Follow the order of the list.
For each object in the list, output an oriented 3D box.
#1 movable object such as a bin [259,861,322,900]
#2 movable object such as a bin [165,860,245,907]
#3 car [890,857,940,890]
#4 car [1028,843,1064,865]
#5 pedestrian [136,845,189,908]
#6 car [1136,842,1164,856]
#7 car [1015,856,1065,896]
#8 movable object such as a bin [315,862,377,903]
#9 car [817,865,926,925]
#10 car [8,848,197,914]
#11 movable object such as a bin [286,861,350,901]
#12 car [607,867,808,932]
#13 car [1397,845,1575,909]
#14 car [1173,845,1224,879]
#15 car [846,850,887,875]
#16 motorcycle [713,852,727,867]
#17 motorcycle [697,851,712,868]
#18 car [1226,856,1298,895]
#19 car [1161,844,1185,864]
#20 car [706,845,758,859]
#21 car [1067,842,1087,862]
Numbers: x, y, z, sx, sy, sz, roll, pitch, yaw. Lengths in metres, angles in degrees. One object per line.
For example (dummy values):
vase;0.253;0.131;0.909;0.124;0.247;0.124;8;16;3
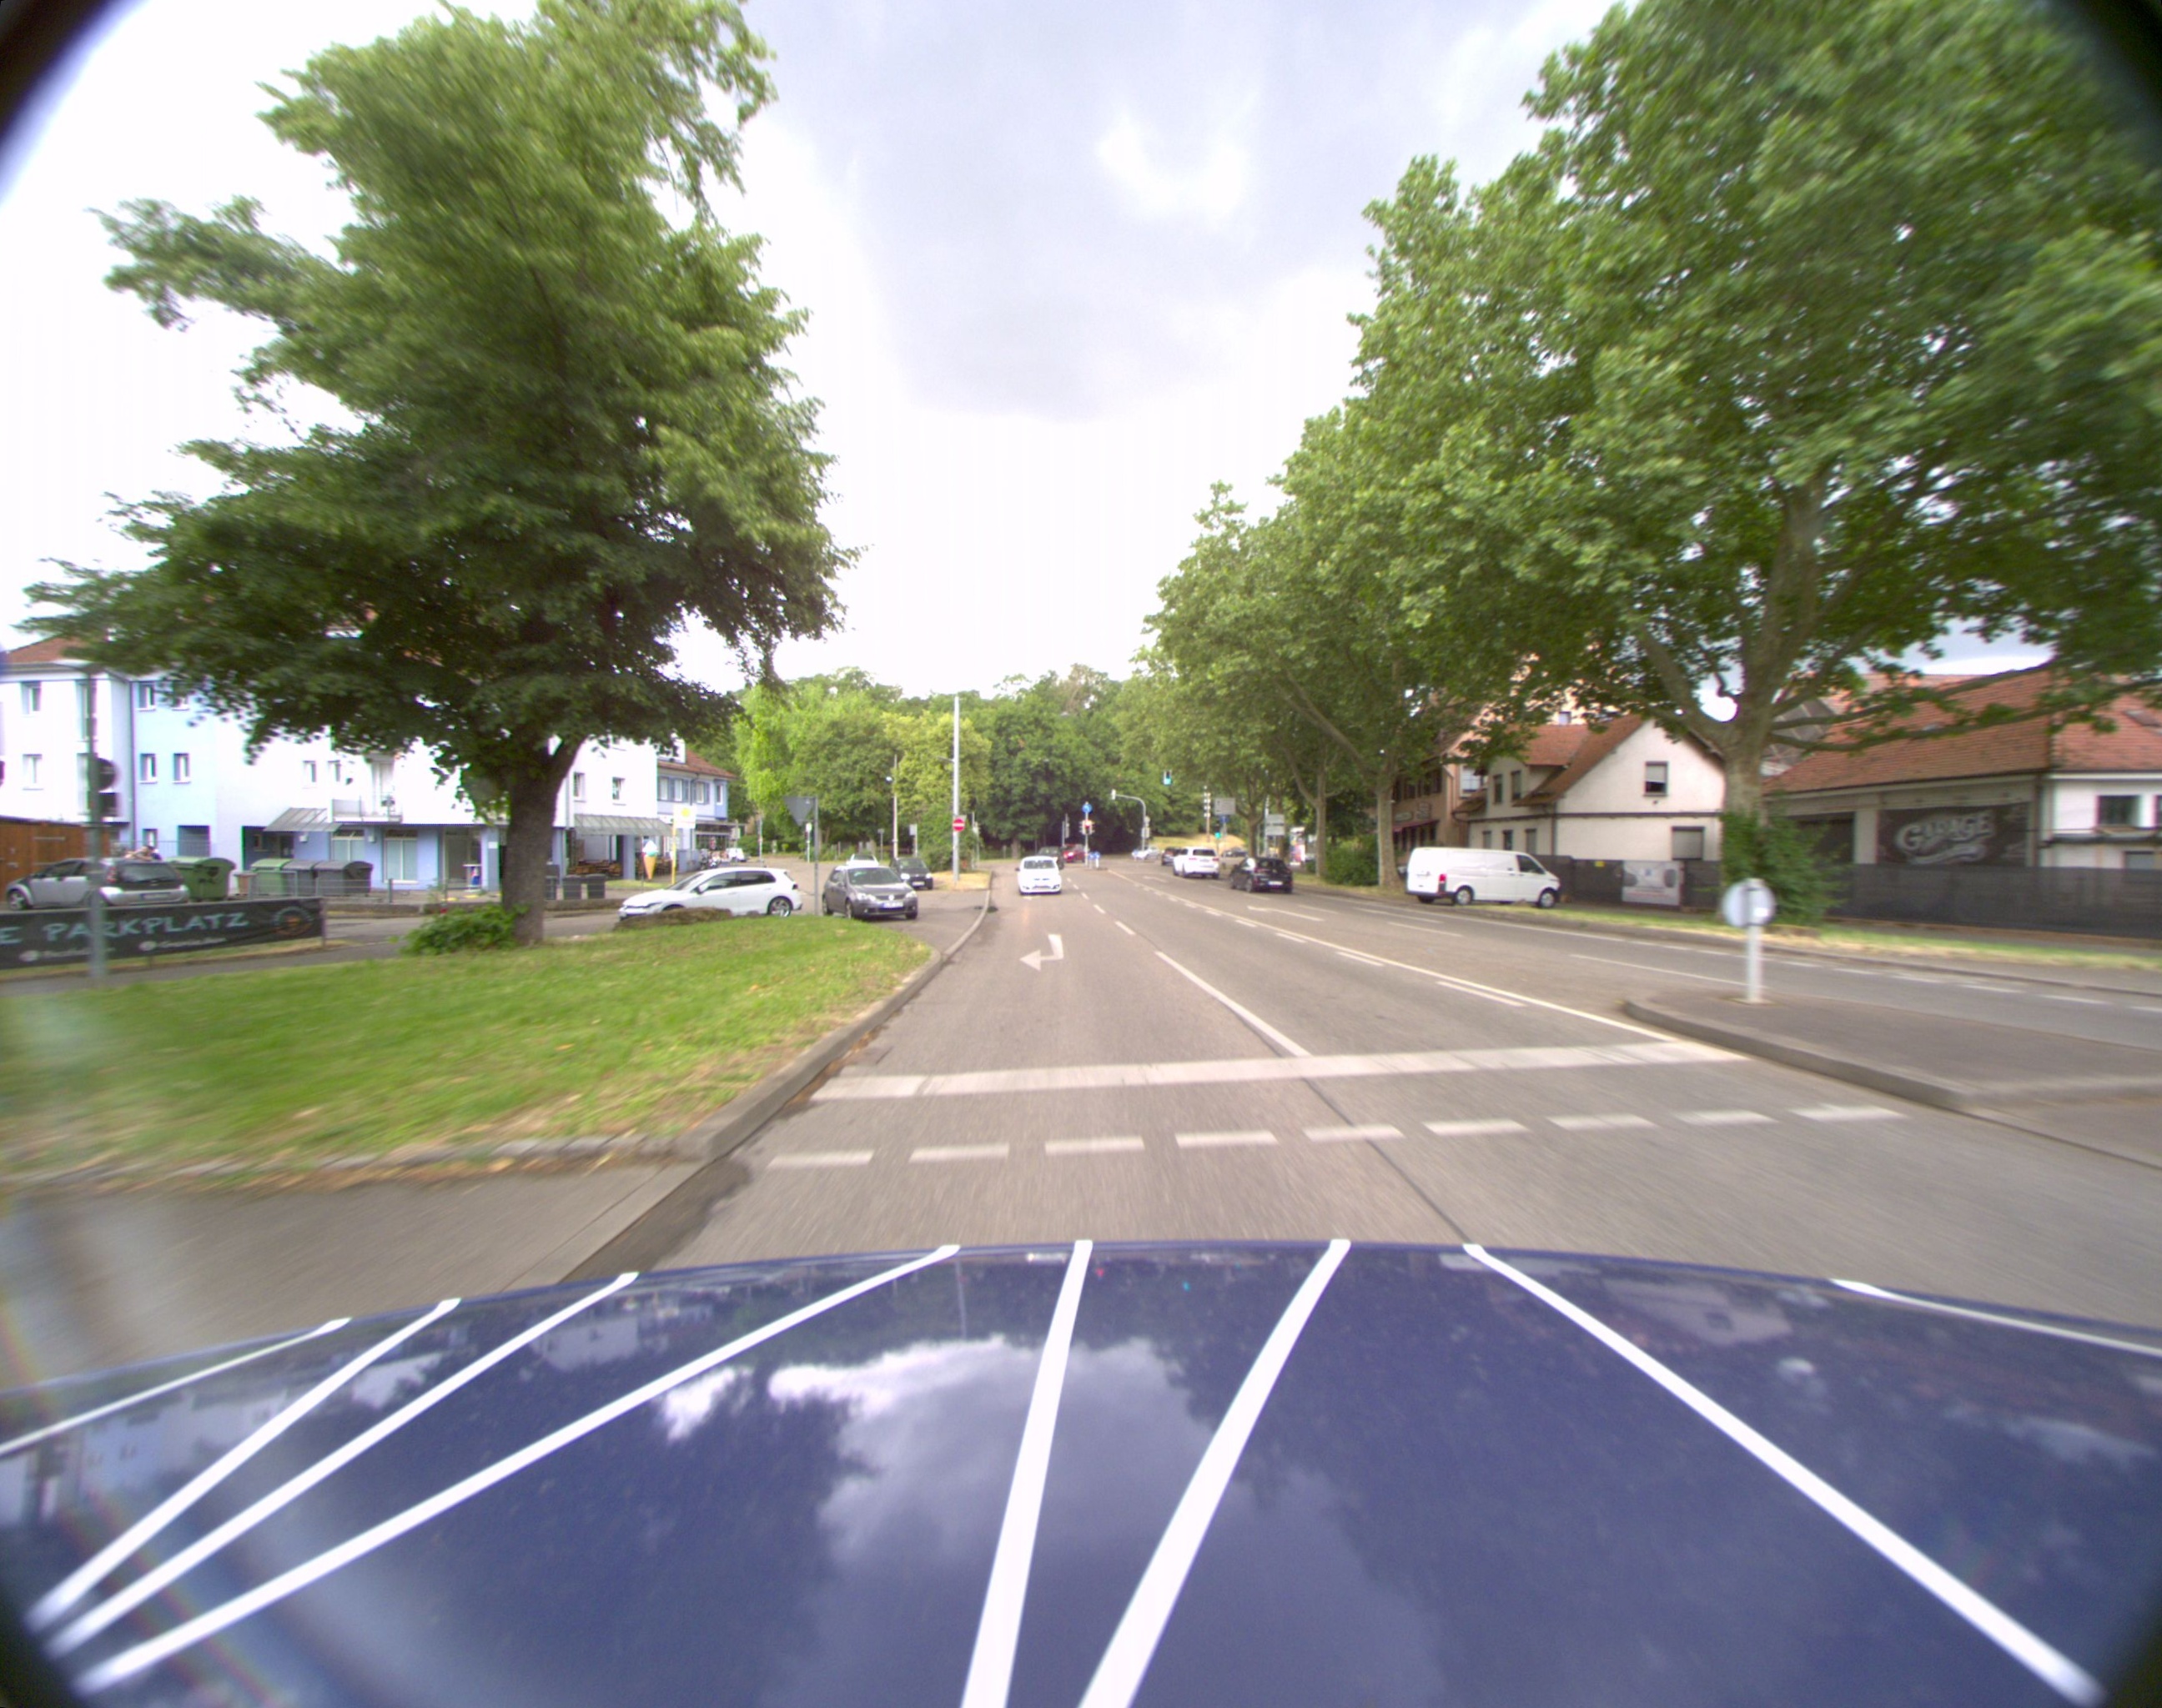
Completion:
movable object such as a bin;-29.391;0.970;28.266;1.216;1.387;1.095;1;2;12
movable object such as a bin;-25.983;0.857;22.557;1.219;1.337;0.995;1;2;2
car;-7.578;0.838;34.415;1.575;1.396;3.487;0;1;-23
car;-2.688;-0.040;57.242;1.733;1.512;3.992;0;2;-18
pedestrian;-25.937;0.622;21.459;0.688;1.720;0.611;1;2;2
car;7.832;-0.565;86.177;1.779;1.560;4.007;1;2;27
car;-1.754;0.854;31.300;1.629;1.499;3.996;0;1;-10
movable object such as a bin;-26.778;1.011;27.707;1.216;1.408;1.095;1;2;12
car;-5.777;1.035;20.619;1.736;1.420;4.102;-1;0;-32
car;-26.300;0.676;20.472;3.419;1.621;1.625;1;2;9
movable object such as a bin;-28.103;0.989;28.018;1.216;1.387;1.162;1;2;12
car;-9.493;1.080;19.563;1.759;1.373;4.270;0;1;43
car;13.600;0.751;25.551;5.247;1.920;2.081;2;1;-16
car;6.529;0.406;42.731;1.916;1.753;4.750;0;1;-3
car;-13.638;0.502;48.156;2.002;1.379;4.778;0;2;-22
motorcycle;-24.971;0.341;52.609;0.522;0.980;1.820;0;2;-13
motorcycle;-24.554;0.348;49.577;0.490;1.025;1.722;0;2;-13
car;7.343;0.829;31.192;1.573;1.374;3.946;1;1;-6
car;7.918;-0.026;65.616;1.800;1.578;4.416;3;1;4
car;-35.906;-0.221;78.205;4.540;1.448;1.901;0;2;8
car;-0.373;-0.218;68.483;1.675;1.632;4.098;0;2;-2
